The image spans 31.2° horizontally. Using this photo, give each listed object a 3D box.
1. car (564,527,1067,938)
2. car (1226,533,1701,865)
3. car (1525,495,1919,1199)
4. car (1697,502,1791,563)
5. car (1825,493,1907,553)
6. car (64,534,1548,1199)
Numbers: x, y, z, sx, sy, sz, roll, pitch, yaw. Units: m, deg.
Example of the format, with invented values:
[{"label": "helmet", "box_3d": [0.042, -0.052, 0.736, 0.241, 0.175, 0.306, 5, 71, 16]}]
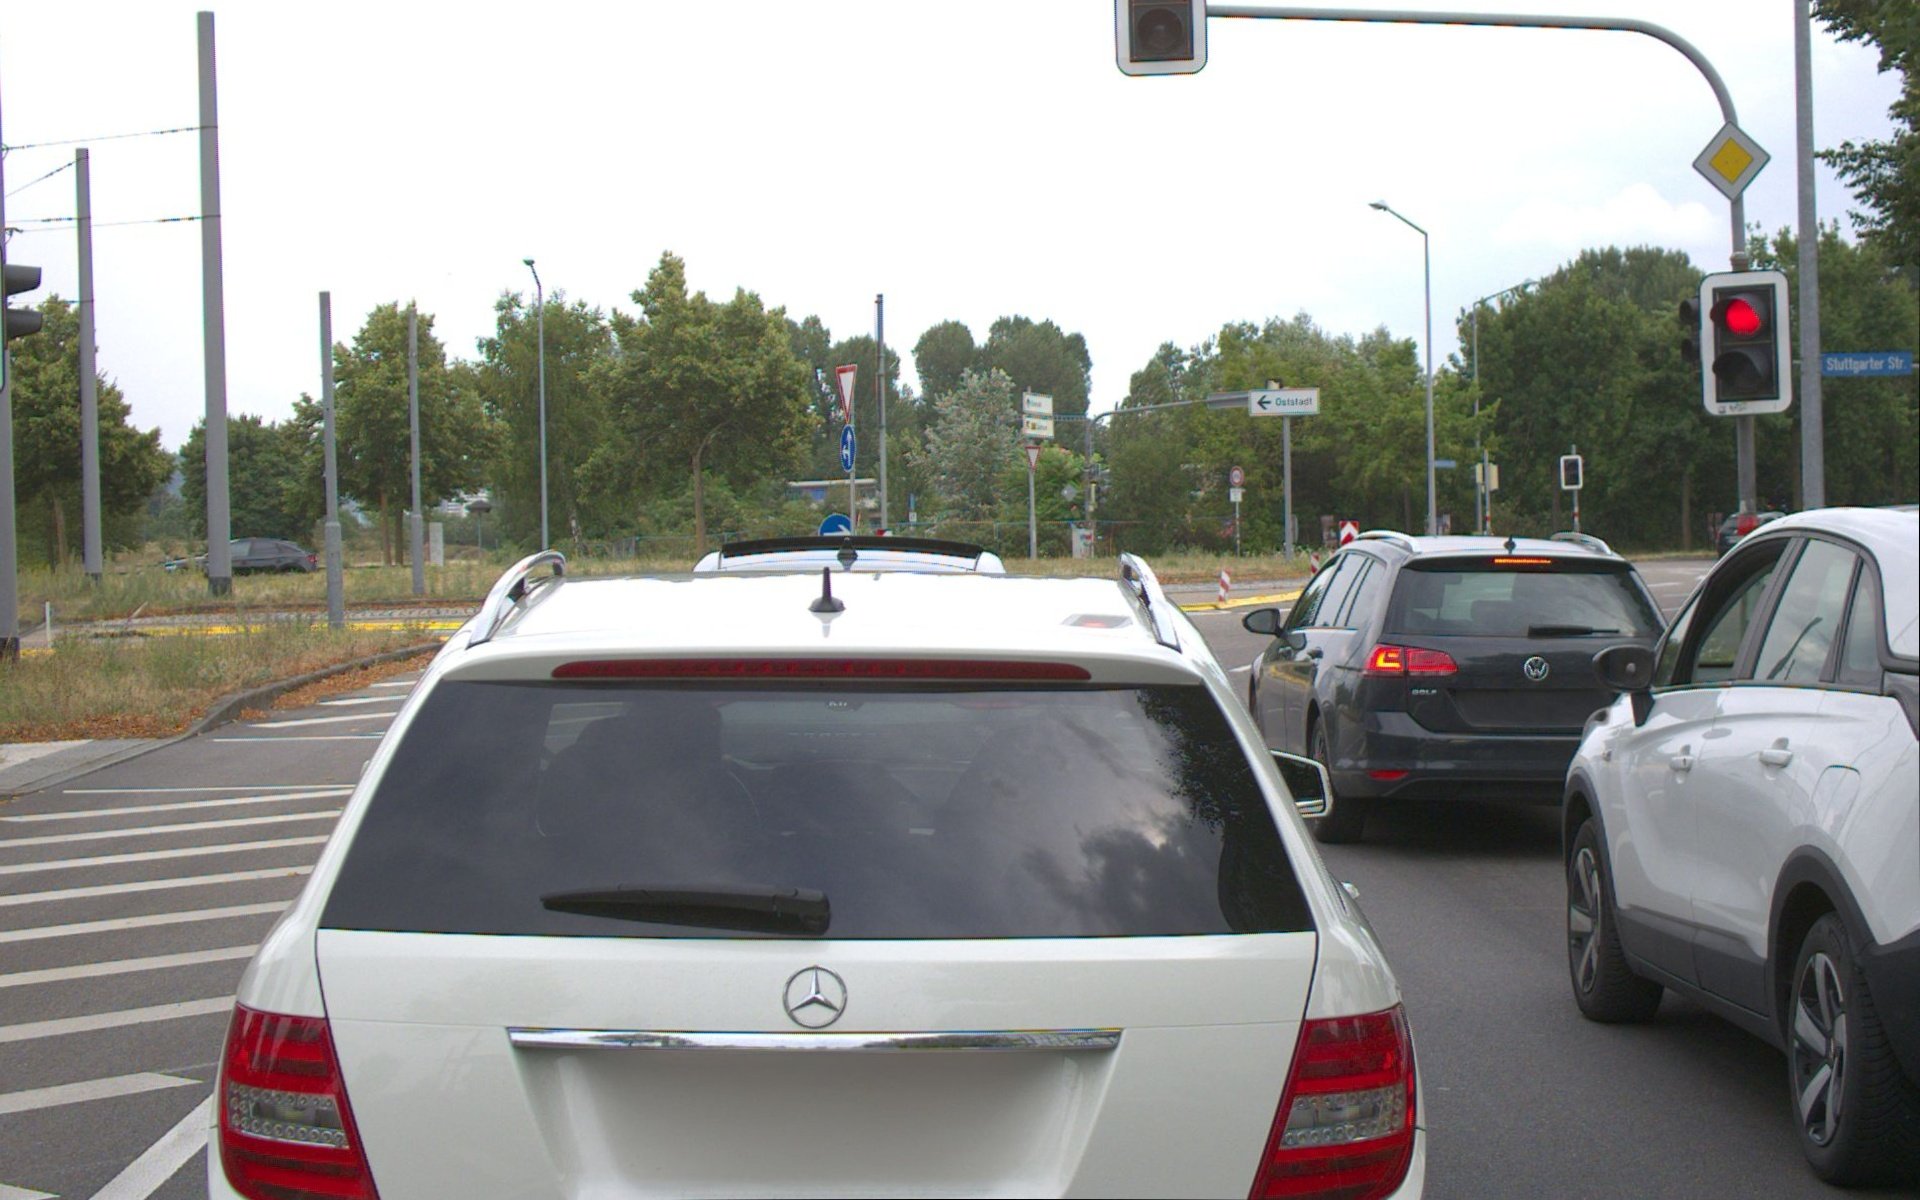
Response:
[{"label": "car", "box_3d": [-0.596, 0.432, 14.154, 1.773, 1.443, 3.911, 0, 1, -2]}, {"label": "car", "box_3d": [2.376, 0.402, 17.147, 1.624, 1.443, 3.911, 0, 1, -2]}, {"label": "car", "box_3d": [2.739, 0.533, 9.113, 1.787, 1.619, 3.911, -1, 1, 0]}, {"label": "car", "box_3d": [24.042, -2.061, 105.329, 1.996, 1.784, 3.995, 2, 1, 25]}, {"label": "car", "box_3d": [25.513, -2.178, 96.924, 1.784, 1.630, 4.400, -1, 1, 9]}, {"label": "car", "box_3d": [-0.266, 0.620, 6.083, 1.773, 1.443, 3.911, 0, 1, -2]}]
